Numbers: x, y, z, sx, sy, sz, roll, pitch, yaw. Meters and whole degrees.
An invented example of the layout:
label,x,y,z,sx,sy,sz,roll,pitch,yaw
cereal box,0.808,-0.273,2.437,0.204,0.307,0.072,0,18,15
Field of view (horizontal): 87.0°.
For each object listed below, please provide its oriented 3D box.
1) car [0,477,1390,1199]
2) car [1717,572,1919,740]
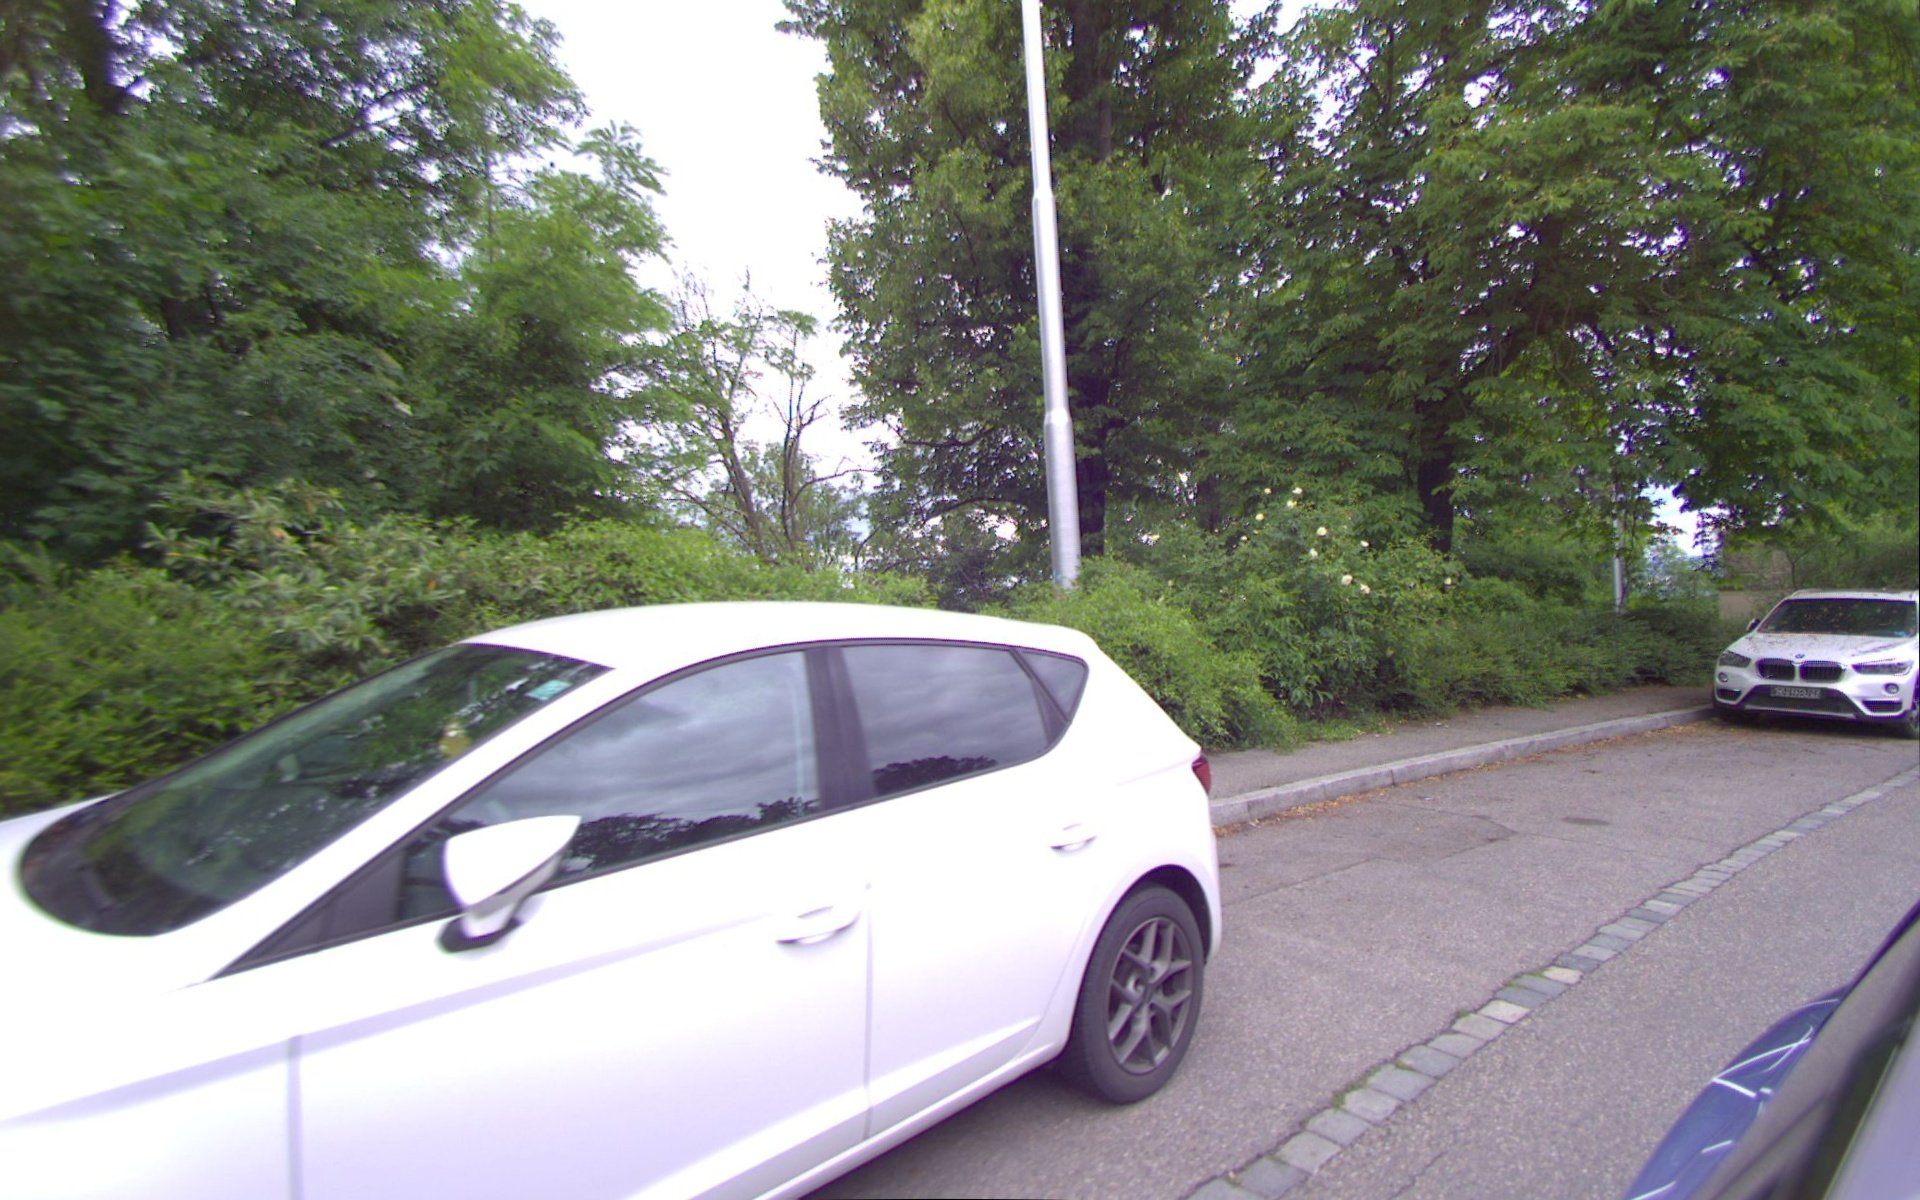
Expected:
label,x,y,z,sx,sy,sz,roll,pitch,yaw
car,-0.688,0.630,2.858,4.621,1.502,1.735,1,-2,-42
car,10.896,0.522,12.125,4.299,1.672,1.764,-1,2,-37
